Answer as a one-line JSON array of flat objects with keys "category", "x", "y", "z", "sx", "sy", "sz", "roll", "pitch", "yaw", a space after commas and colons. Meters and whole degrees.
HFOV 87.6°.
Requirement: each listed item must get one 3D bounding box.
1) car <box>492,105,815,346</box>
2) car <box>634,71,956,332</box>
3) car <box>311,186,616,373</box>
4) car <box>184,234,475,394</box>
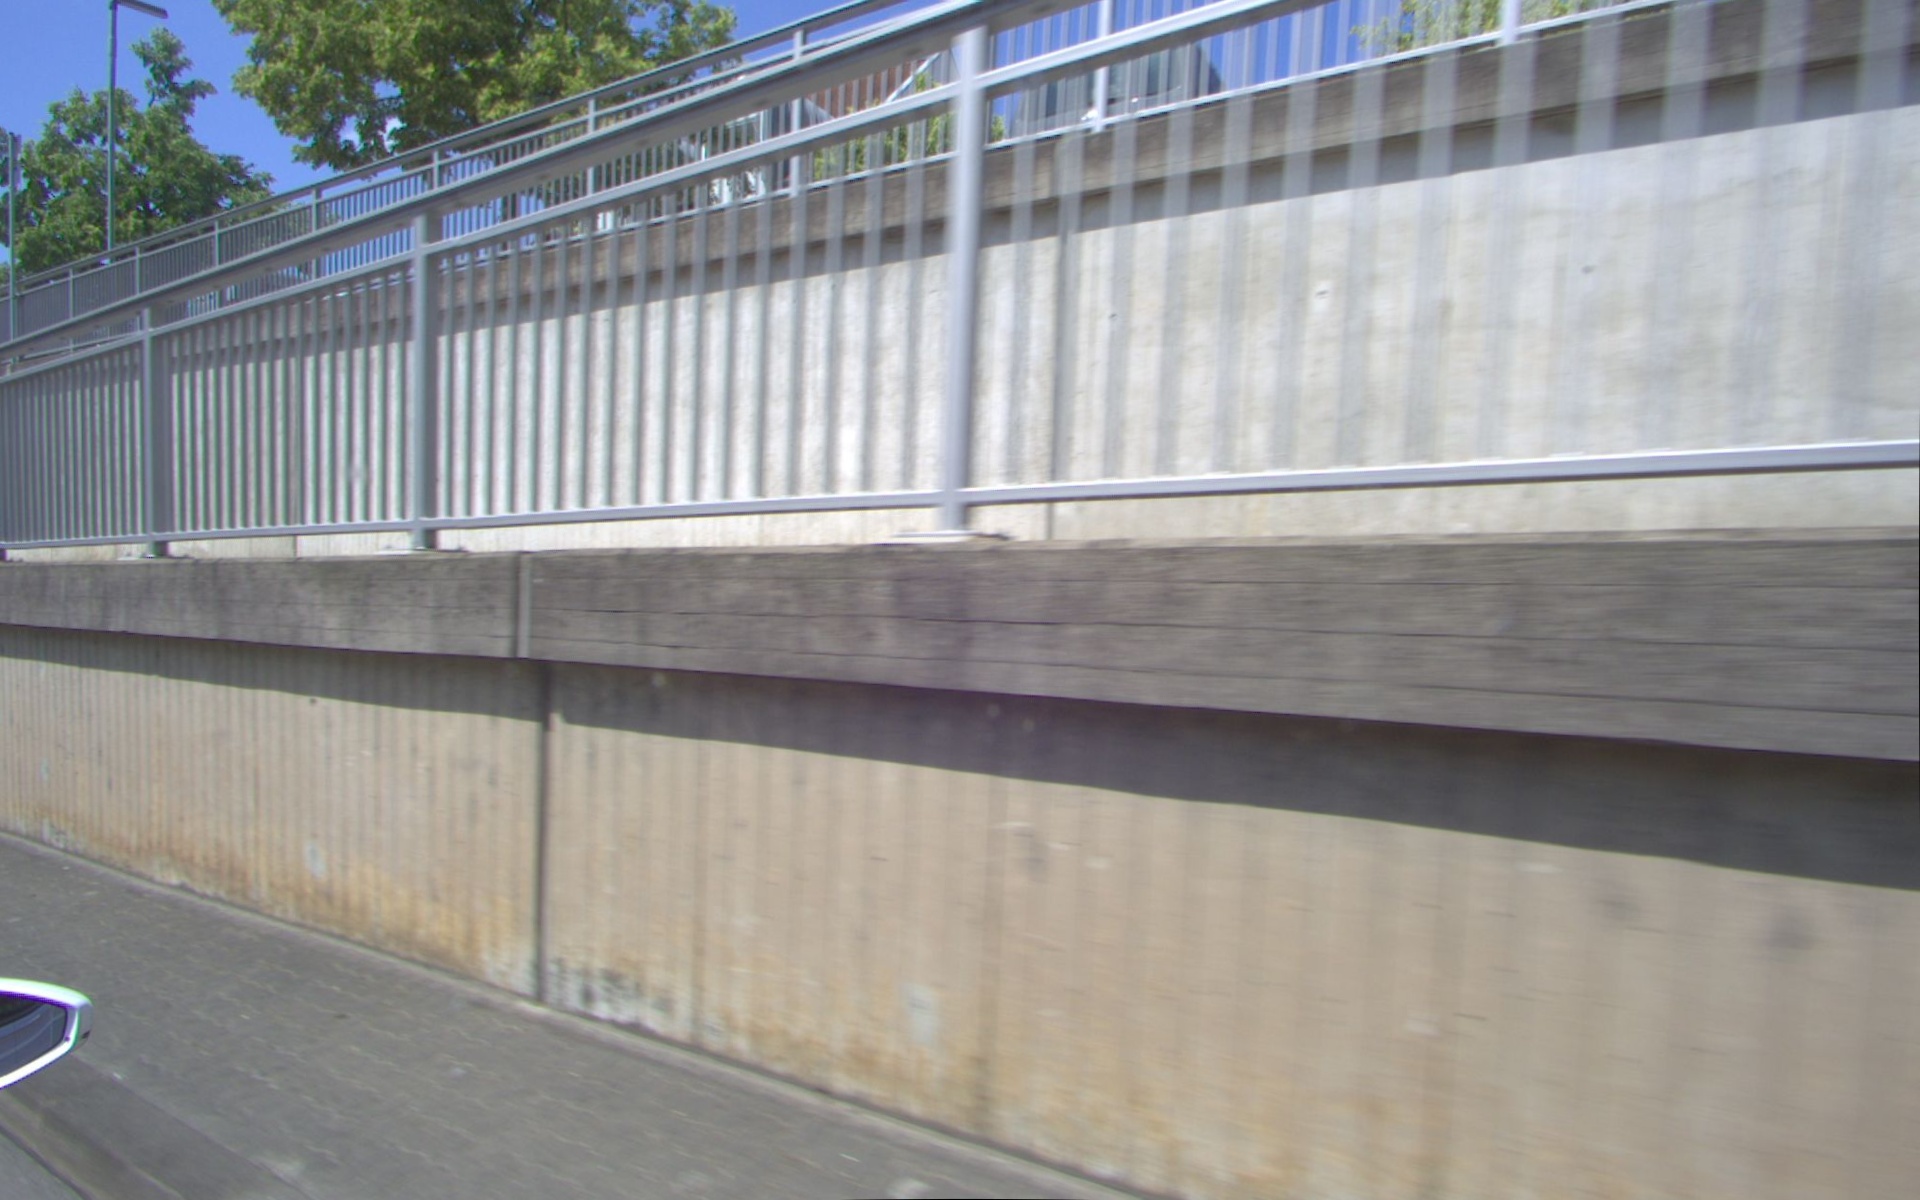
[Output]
[{"category": "car", "x": -3.974, "y": -4.815, "z": 13.580, "sx": 1.746, "sy": 1.587, "sz": 3.976, "roll": 0, "pitch": -1, "yaw": 35}, {"category": "car", "x": -1.897, "y": -4.730, "z": 12.595, "sx": 1.746, "sy": 1.505, "sz": 3.976, "roll": 0, "pitch": -1, "yaw": 35}, {"category": "car", "x": -7.639, "y": -4.845, "z": 15.765, "sx": 1.746, "sy": 1.505, "sz": 3.976, "roll": 0, "pitch": -1, "yaw": 35}, {"category": "car", "x": -10.923, "y": -4.856, "z": 17.605, "sx": 1.746, "sy": 1.505, "sz": 3.976, "roll": 0, "pitch": -1, "yaw": 35}]
